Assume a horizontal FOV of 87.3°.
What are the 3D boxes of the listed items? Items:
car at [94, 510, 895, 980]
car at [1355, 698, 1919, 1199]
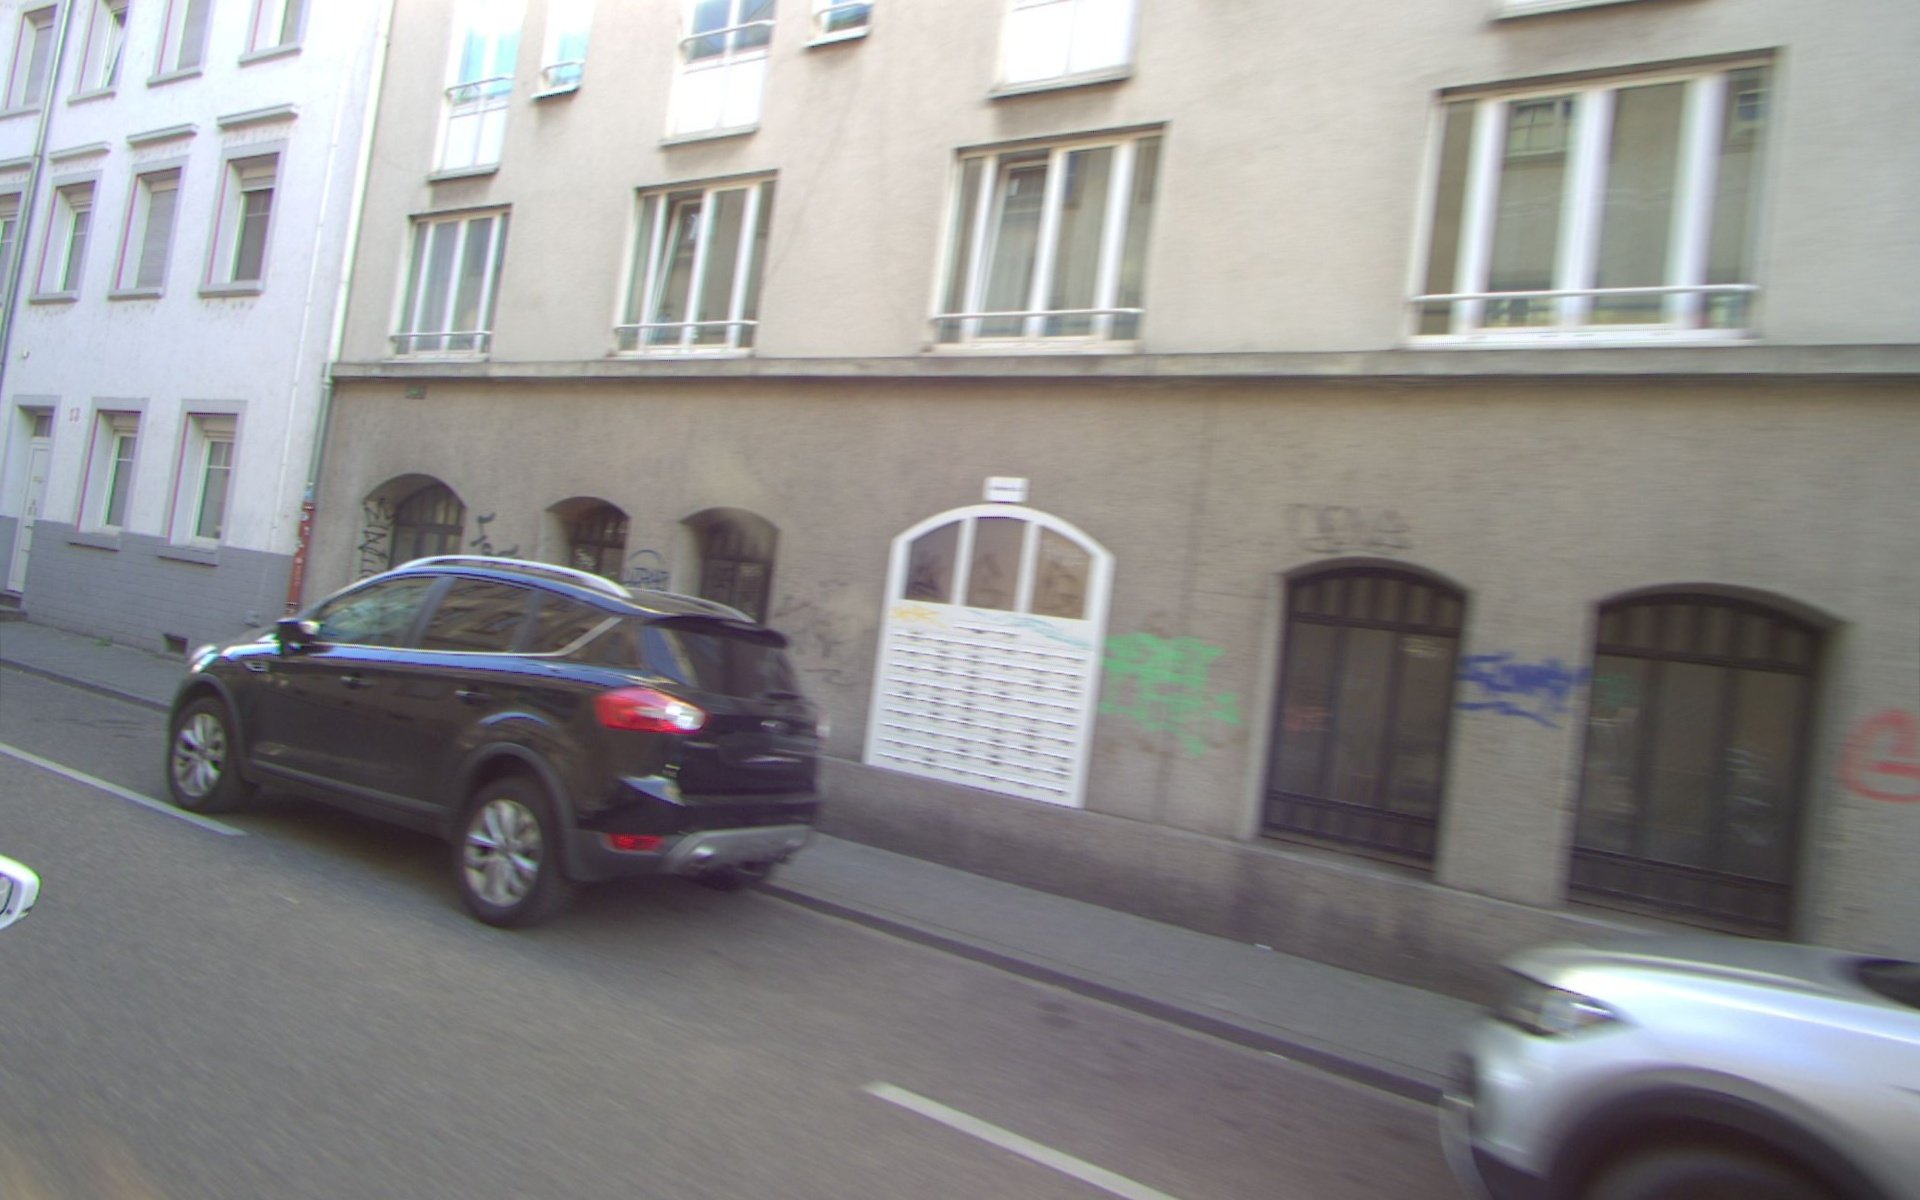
[{"bbox_3d":[-2.838,0.617,5.968,4.415,1.672,1.832,7,-4,28],"label":"car"},{"bbox_3d":[3.235,1.318,2.165,1.822,1.575,3.940,12,-5,-42],"label":"car"}]
